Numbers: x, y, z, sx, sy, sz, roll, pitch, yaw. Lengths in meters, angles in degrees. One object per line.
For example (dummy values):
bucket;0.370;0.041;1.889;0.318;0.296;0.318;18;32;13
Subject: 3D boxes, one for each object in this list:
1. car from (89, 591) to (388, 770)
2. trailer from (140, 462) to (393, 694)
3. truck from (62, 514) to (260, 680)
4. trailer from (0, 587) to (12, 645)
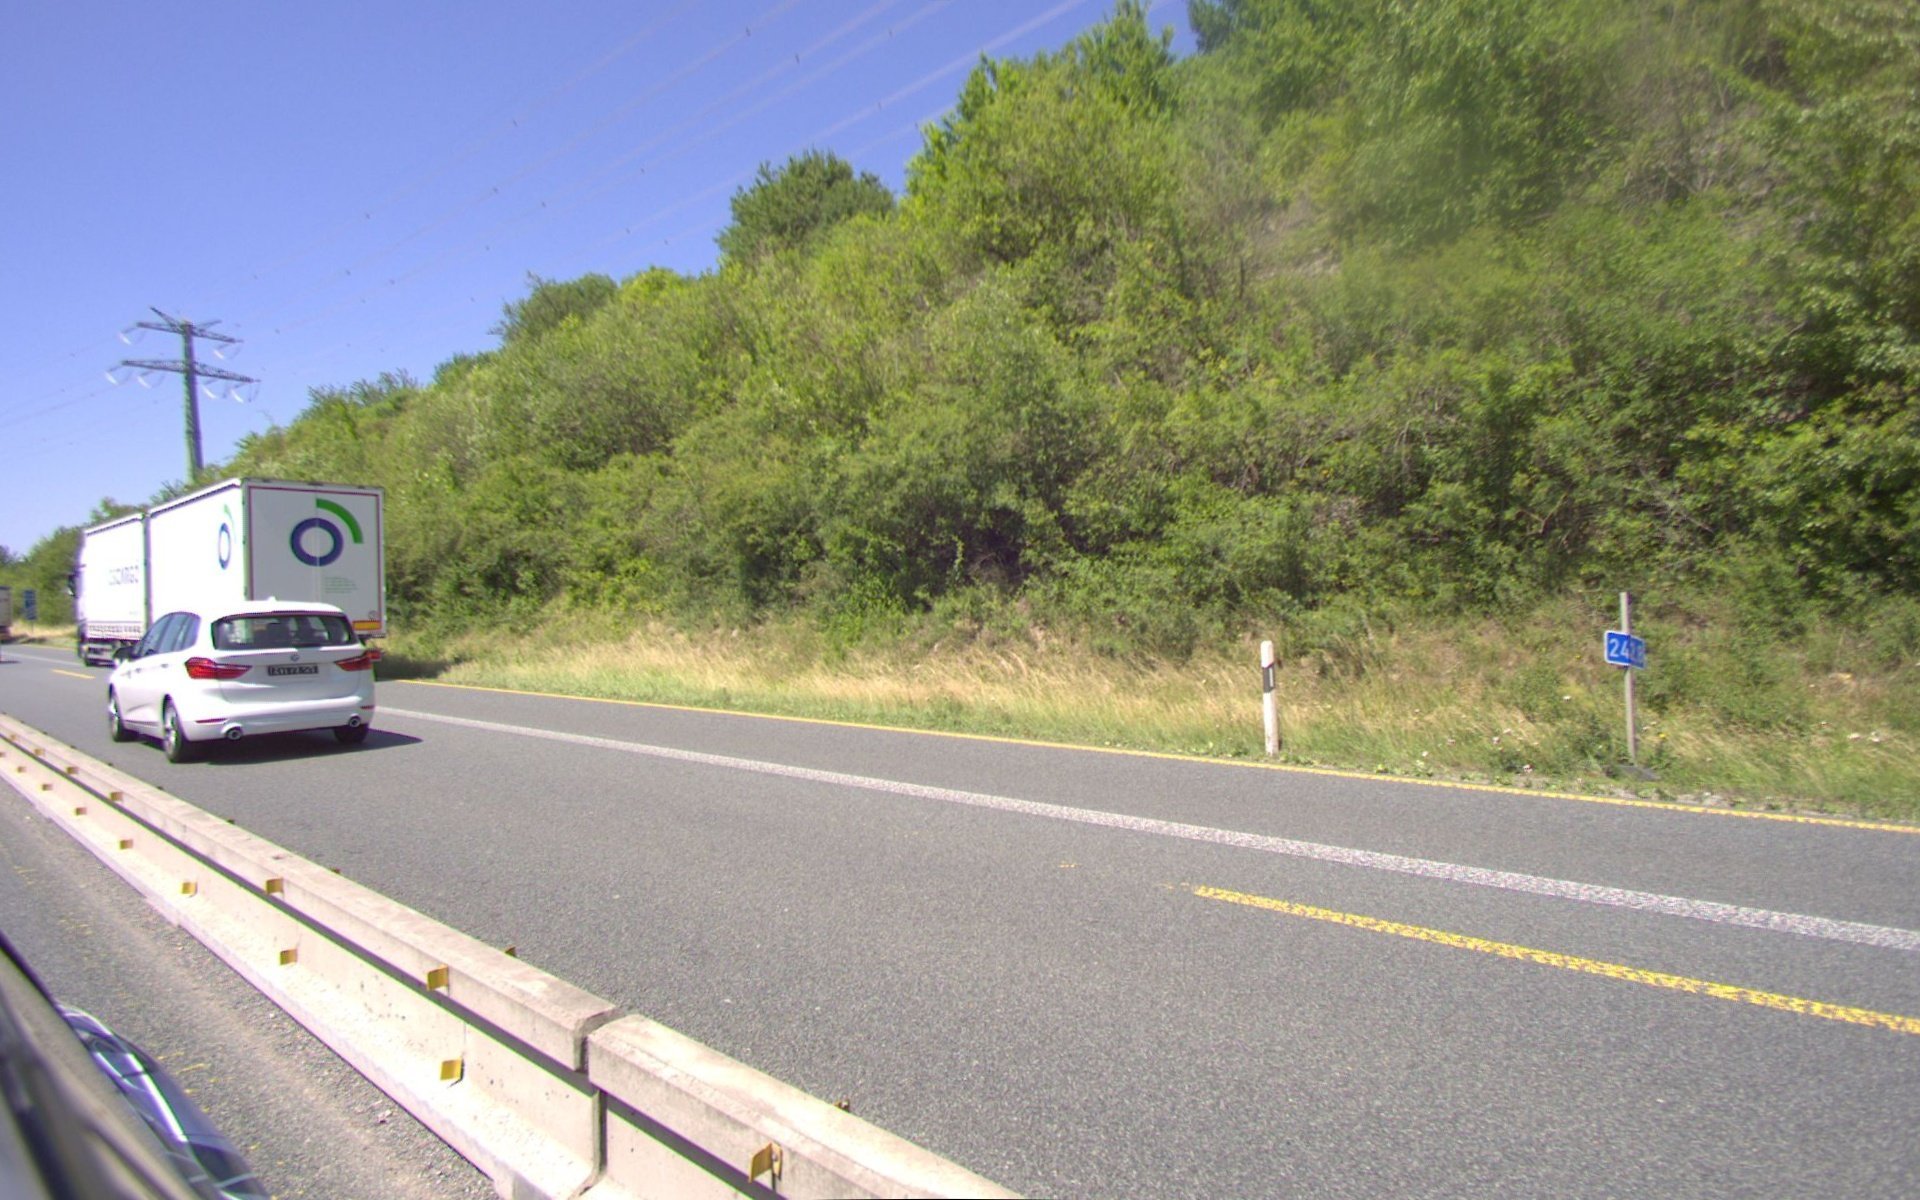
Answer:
car;-8.264;0.766;11.445;4.294;1.644;1.745;-1;0;40
trailer;-15.800;-0.364;22.727;8.444;4.345;2.610;-1;1;42
truck;-22.993;-0.008;28.829;10.345;4.022;2.385;-1;1;41
trailer;-60.246;1.056;61.721;8.915;3.361;2.623;-1;1;42
